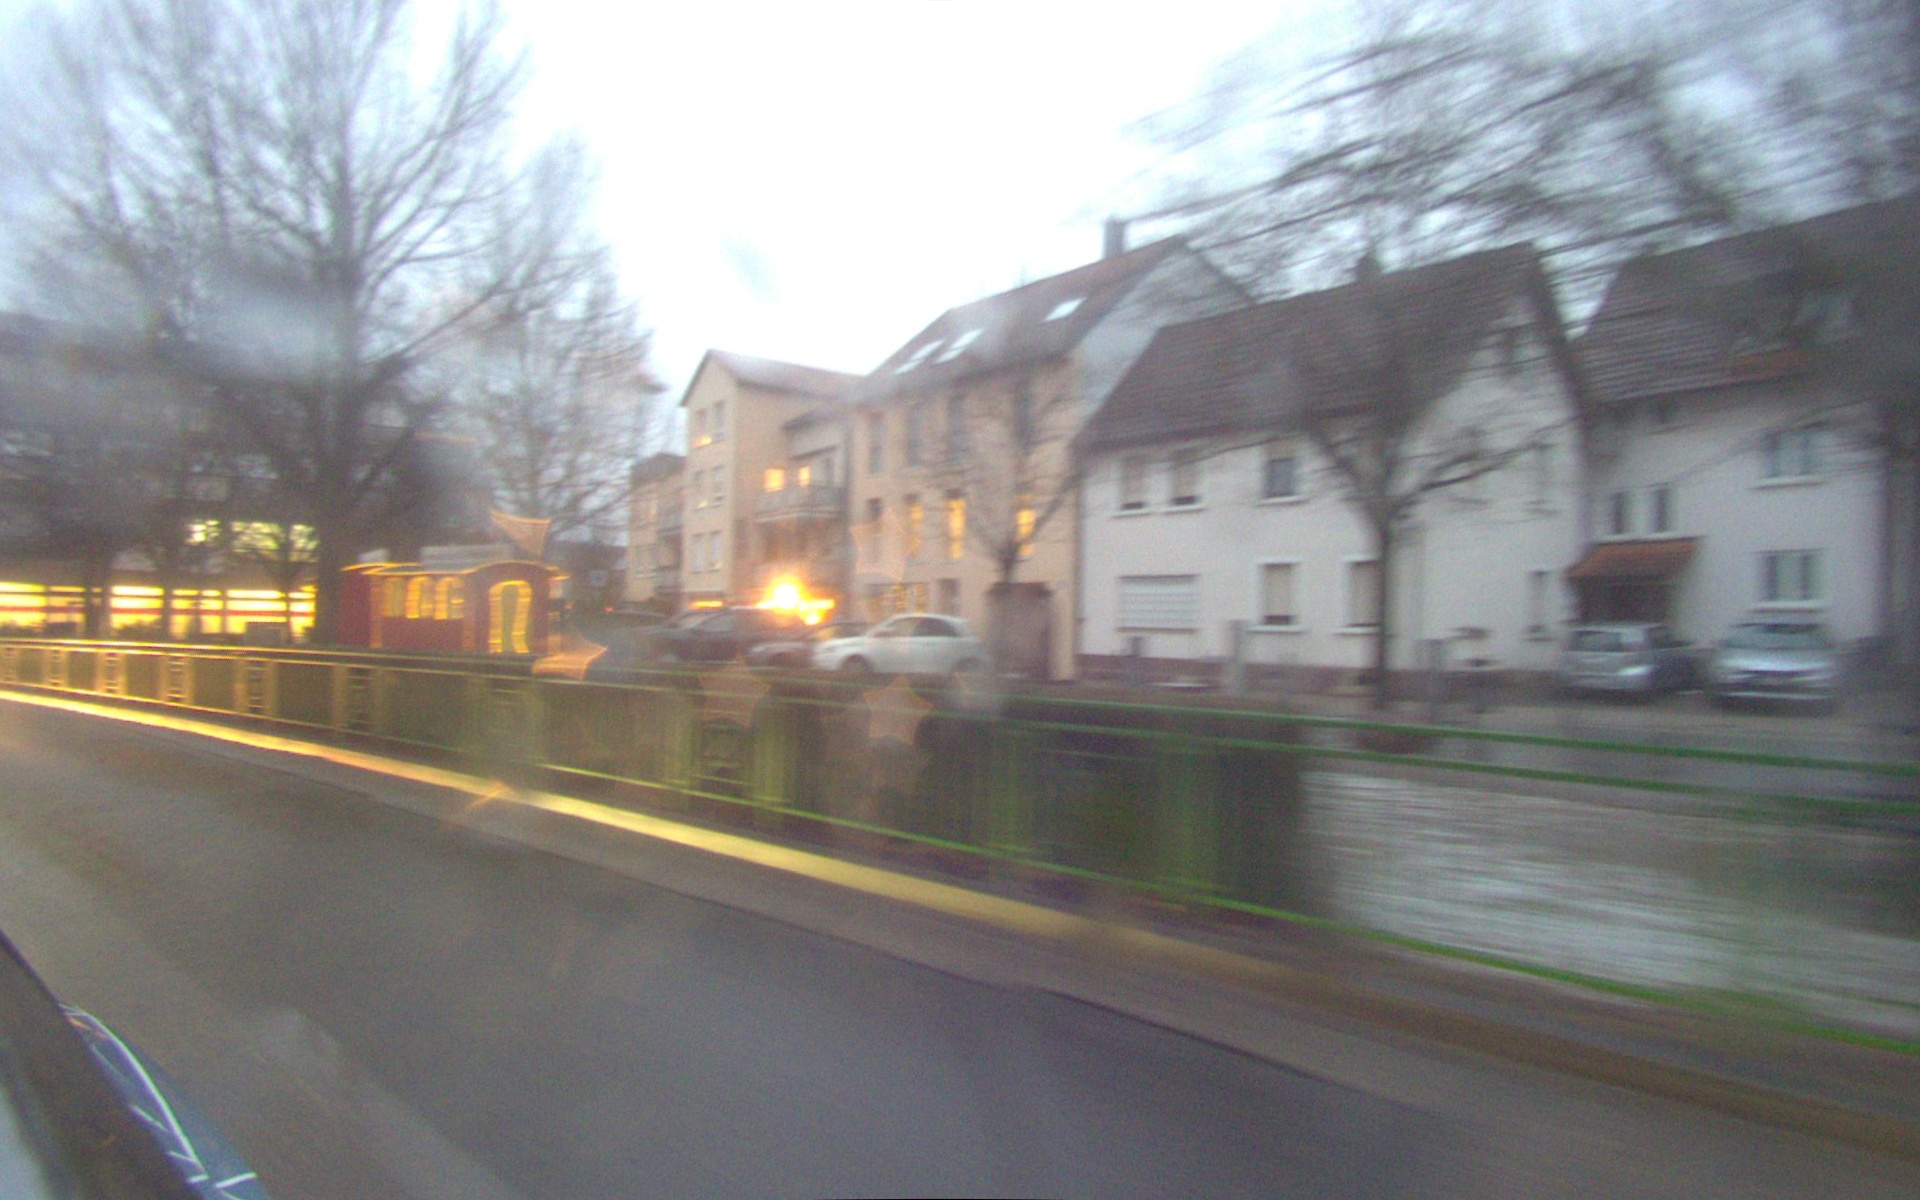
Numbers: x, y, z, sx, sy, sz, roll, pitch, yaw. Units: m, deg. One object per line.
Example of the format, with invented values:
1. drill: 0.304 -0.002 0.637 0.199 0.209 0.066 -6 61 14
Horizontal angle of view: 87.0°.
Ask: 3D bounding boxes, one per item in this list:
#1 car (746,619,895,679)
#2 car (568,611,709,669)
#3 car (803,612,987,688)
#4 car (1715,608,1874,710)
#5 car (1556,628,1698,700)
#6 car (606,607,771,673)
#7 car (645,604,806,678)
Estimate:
1. car: -3.105 1.042 22.349 3.003 1.229 1.615 0 -1 -17
2. car: -9.721 1.202 30.603 3.931 1.645 1.640 1 -2 -21
3. car: -1.344 0.967 20.407 3.426 1.420 1.615 0 -1 -15
4. car: 15.492 1.019 18.738 3.554 1.624 1.715 -1 0 -42
5. car: 13.765 1.260 20.841 3.006 1.135 1.532 -4 2 -38
6. car: -7.109 1.040 26.547 3.930 1.645 1.640 1 -2 -26
7. car: -5.568 0.932 23.945 3.573 1.624 1.615 0 -1 -17
